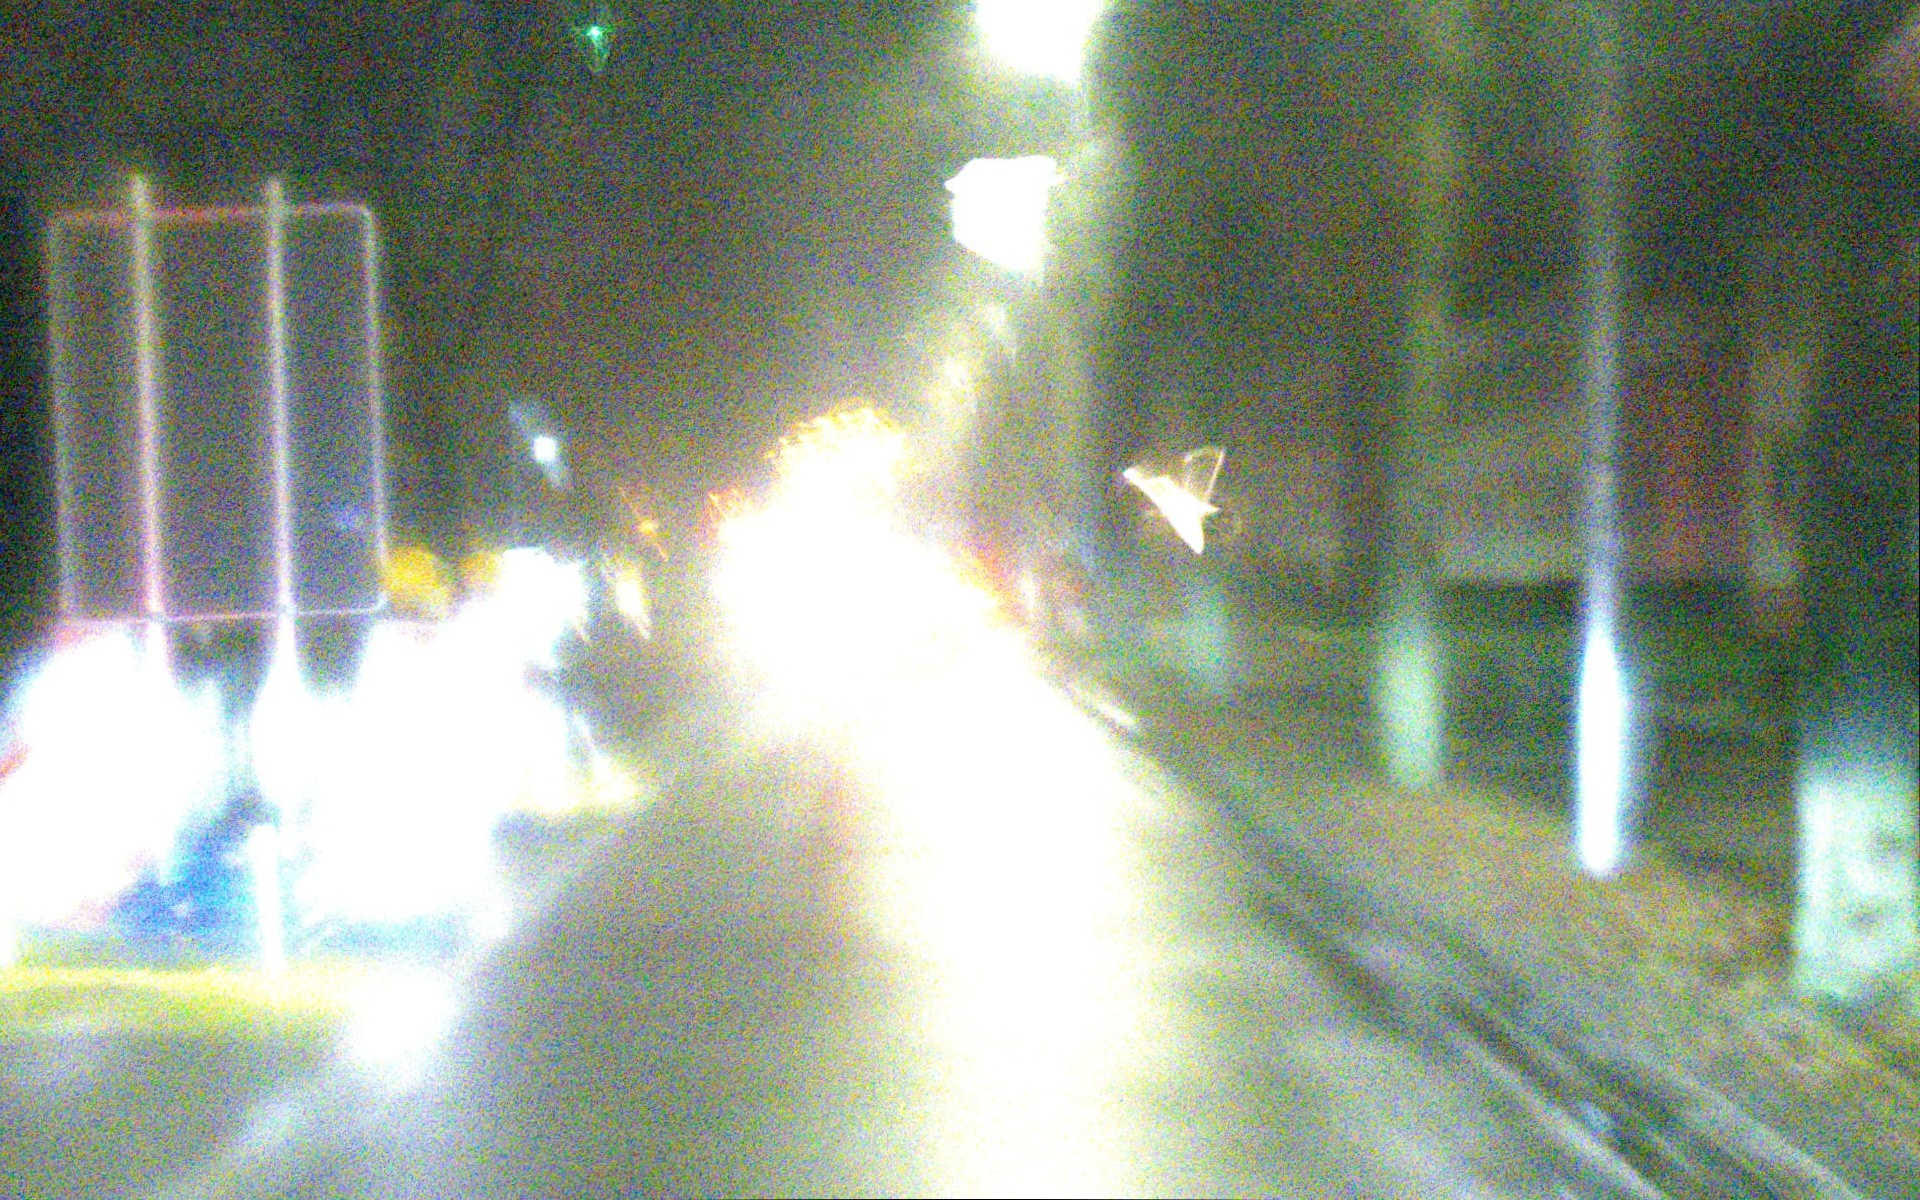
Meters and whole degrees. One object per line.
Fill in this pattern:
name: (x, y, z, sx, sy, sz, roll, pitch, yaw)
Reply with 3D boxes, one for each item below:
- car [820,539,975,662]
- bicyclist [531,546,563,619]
car: (-0.945, -0.014, 49.448, 1.993, 1.678, 4.001, 1, 1, -4)
bicyclist: (-9.251, -0.399, 77.044, 0.636, 1.589, 0.961, 1, 3, -2)
